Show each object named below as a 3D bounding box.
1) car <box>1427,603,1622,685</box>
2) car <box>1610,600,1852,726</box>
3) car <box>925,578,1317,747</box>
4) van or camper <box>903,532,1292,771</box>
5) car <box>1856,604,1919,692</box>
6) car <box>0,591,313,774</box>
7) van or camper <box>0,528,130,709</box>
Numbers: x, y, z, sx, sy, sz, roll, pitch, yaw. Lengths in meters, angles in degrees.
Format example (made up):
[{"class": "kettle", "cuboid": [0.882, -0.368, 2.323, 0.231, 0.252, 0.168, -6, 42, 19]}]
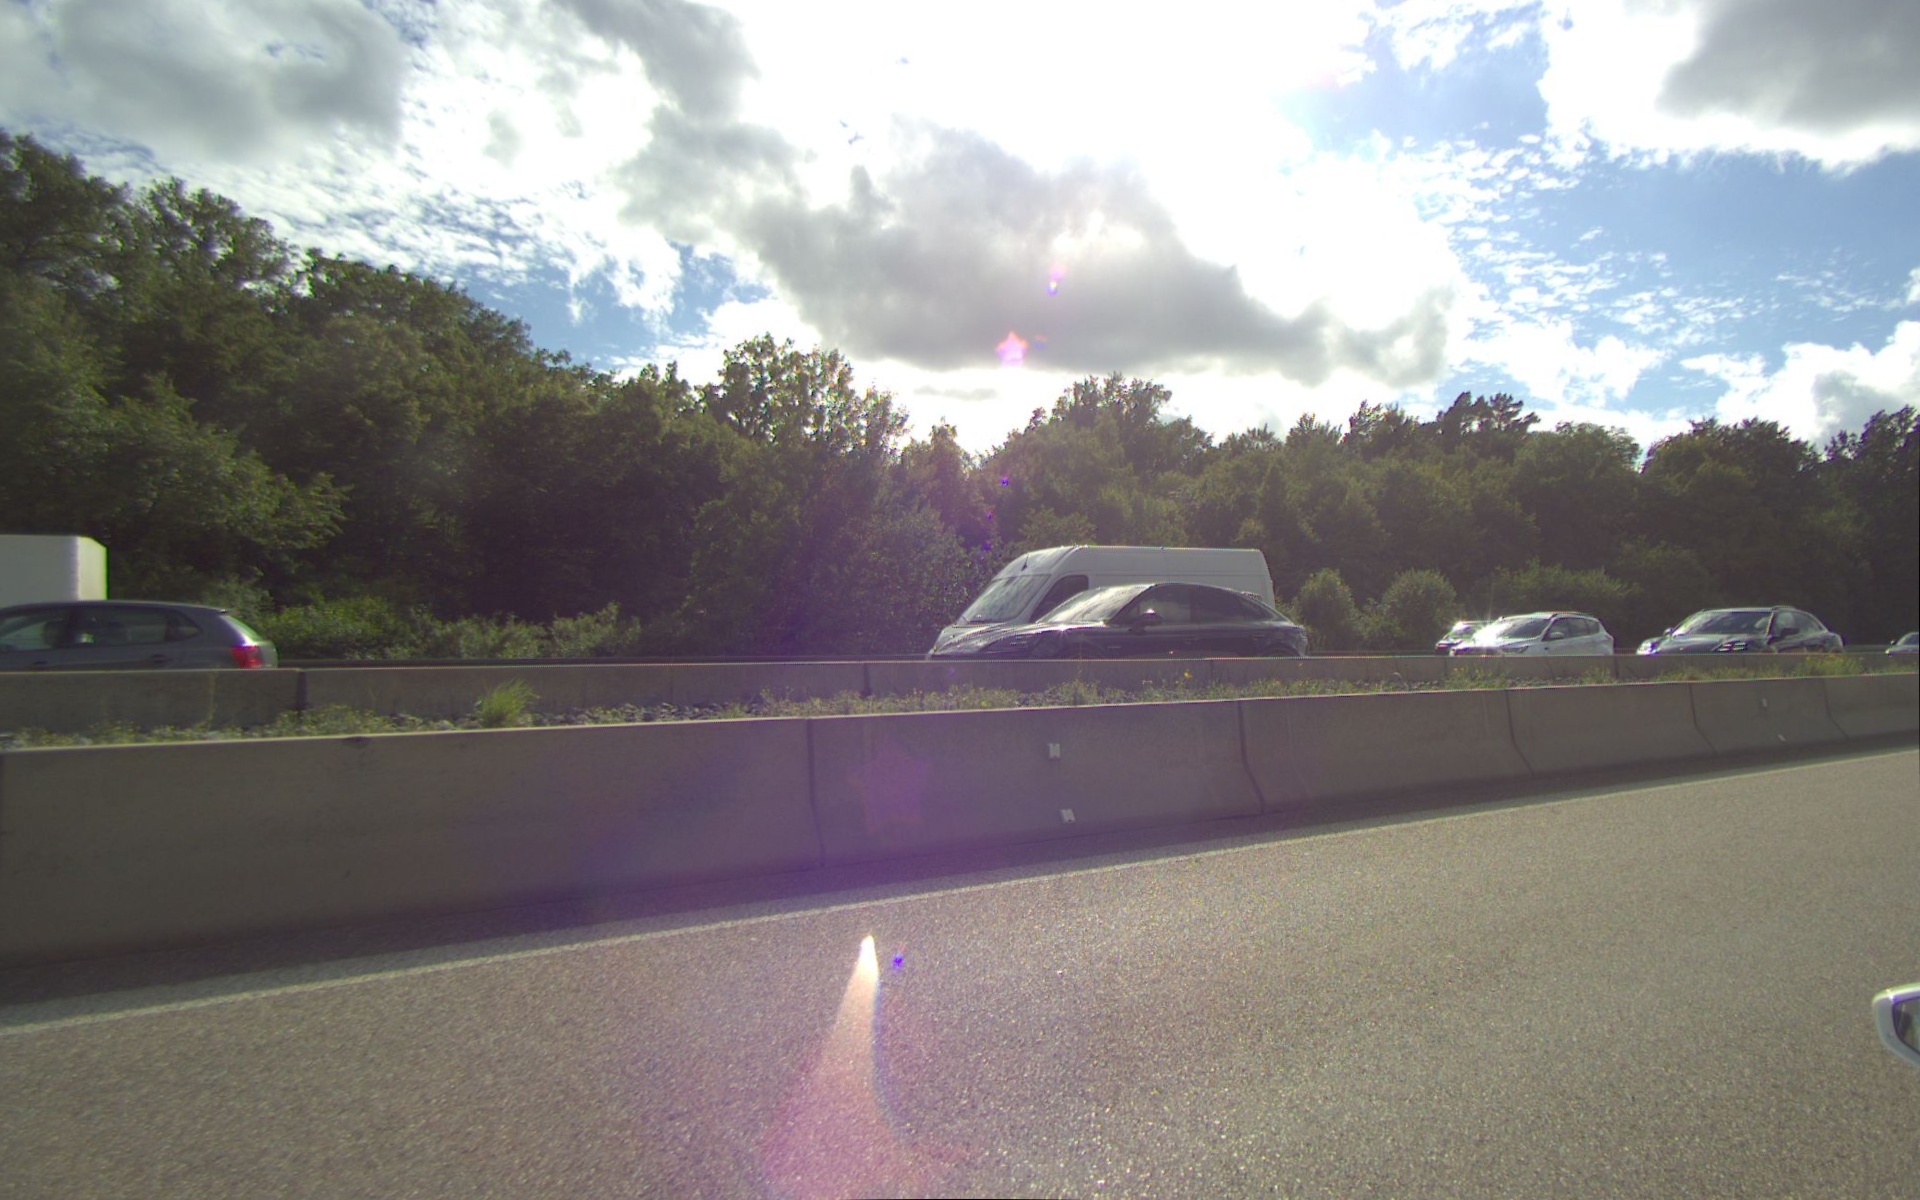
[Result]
[{"class": "car", "cuboid": [12.531, 0.976, 22.290, 3.952, 1.617, 1.985, 3, -1, -29]}, {"class": "car", "cuboid": [14.113, 1.072, 18.343, 4.465, 2.040, 1.874, 1, 0, -29]}, {"class": "car", "cuboid": [1.900, 0.628, 11.469, 4.241, 1.612, 1.826, 2, 1, -32]}, {"class": "van or camper", "cuboid": [2.332, 0.731, 16.050, 6.174, 3.215, 2.127, 1, 1, -32]}, {"class": "car", "cuboid": [24.541, 1.186, 24.928, 5.029, 2.040, 1.896, 1, 0, -29]}, {"class": "car", "cuboid": [-8.742, 0.745, 9.837, 3.955, 1.612, 1.627, 2, 1, -32]}, {"class": "van or camper", "cuboid": [-19.124, 0.254, 17.257, 7.115, 3.118, 2.559, 2, -1, -32]}]
